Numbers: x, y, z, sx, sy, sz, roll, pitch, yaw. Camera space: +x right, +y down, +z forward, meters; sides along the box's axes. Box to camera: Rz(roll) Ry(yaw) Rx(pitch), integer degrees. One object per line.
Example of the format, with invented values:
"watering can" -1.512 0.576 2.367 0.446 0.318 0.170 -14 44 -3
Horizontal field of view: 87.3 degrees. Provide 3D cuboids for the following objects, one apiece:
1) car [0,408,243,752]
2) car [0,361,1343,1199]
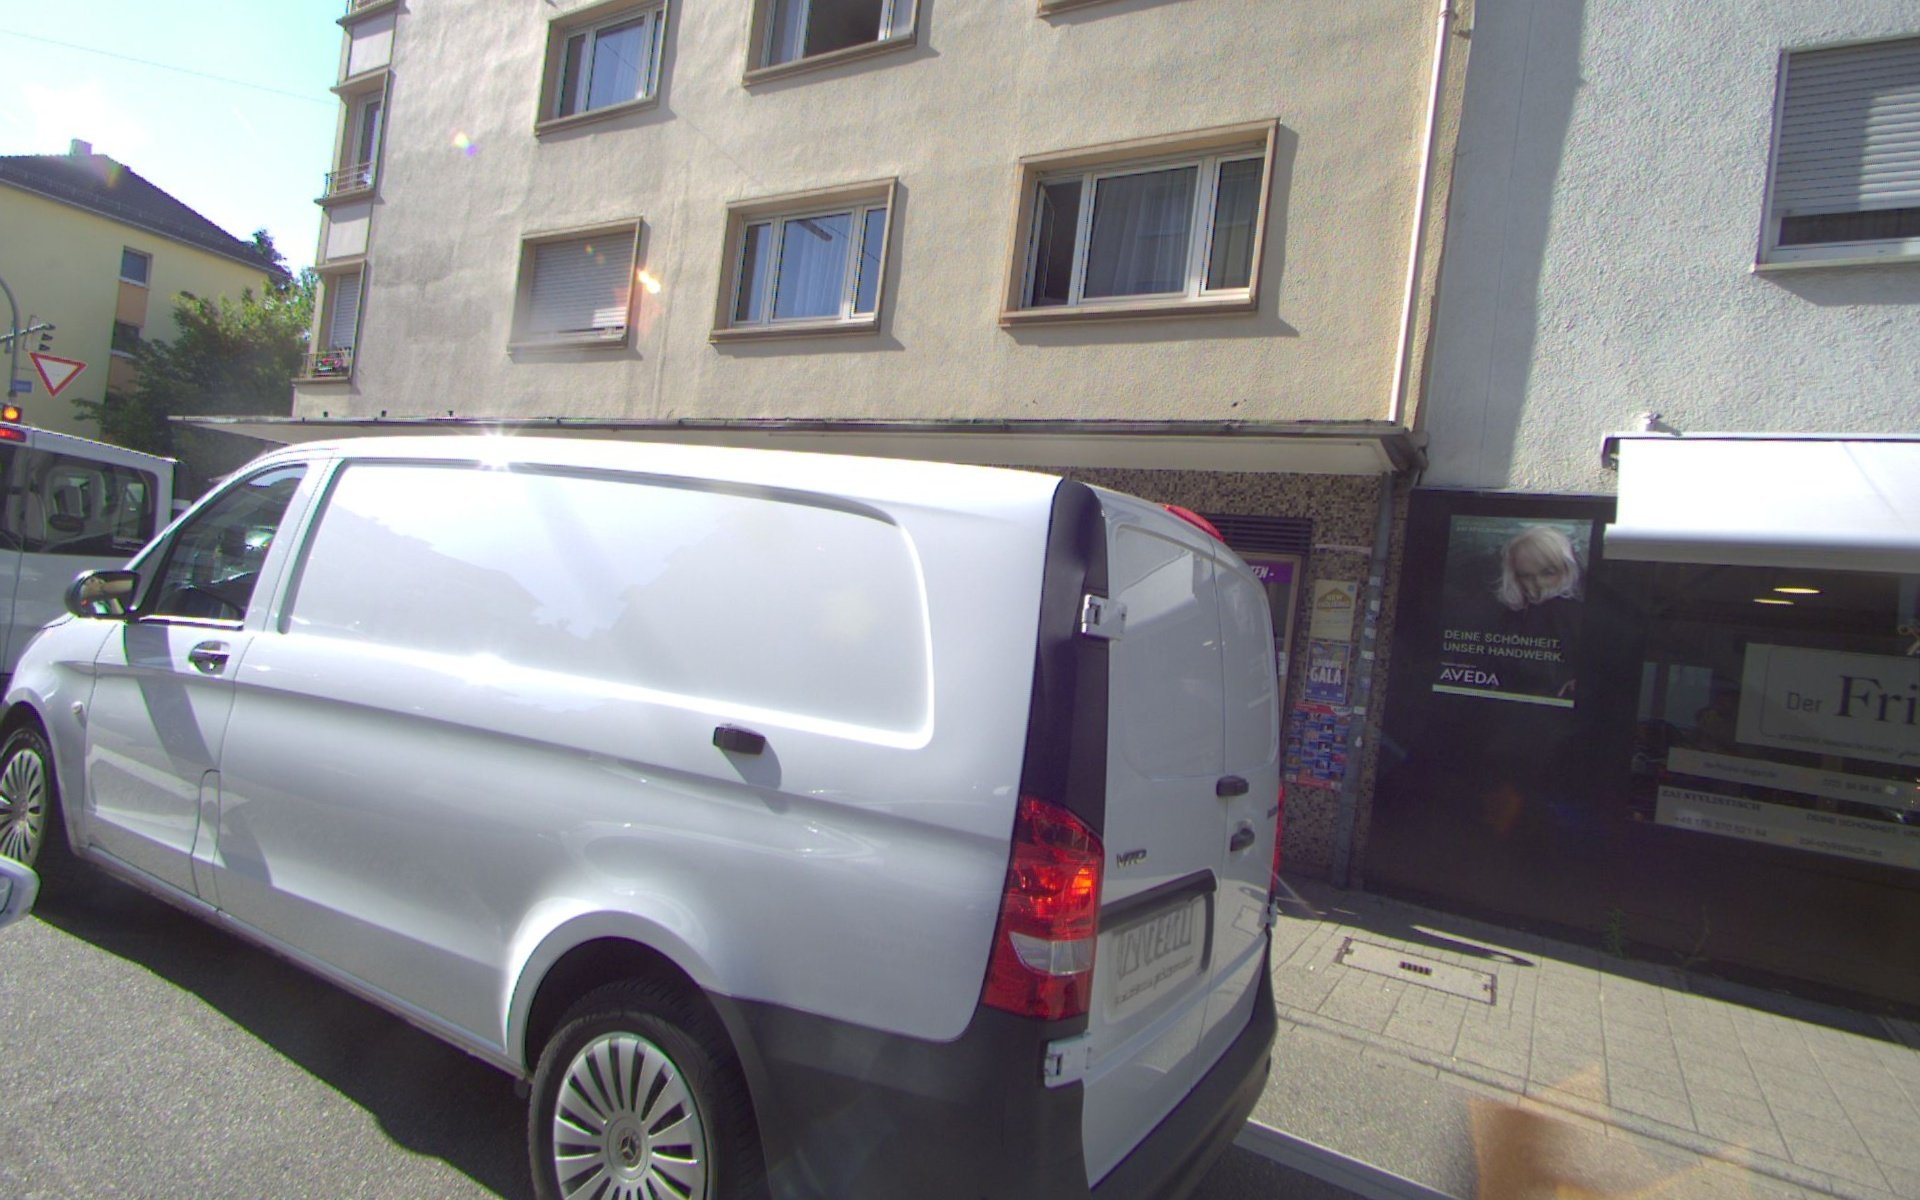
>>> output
"car" -7.596 -0.326 7.277 4.814 2.001 1.999 7 -3 31
"car" -1.467 0.401 3.608 4.912 1.891 1.839 7 -1 31
